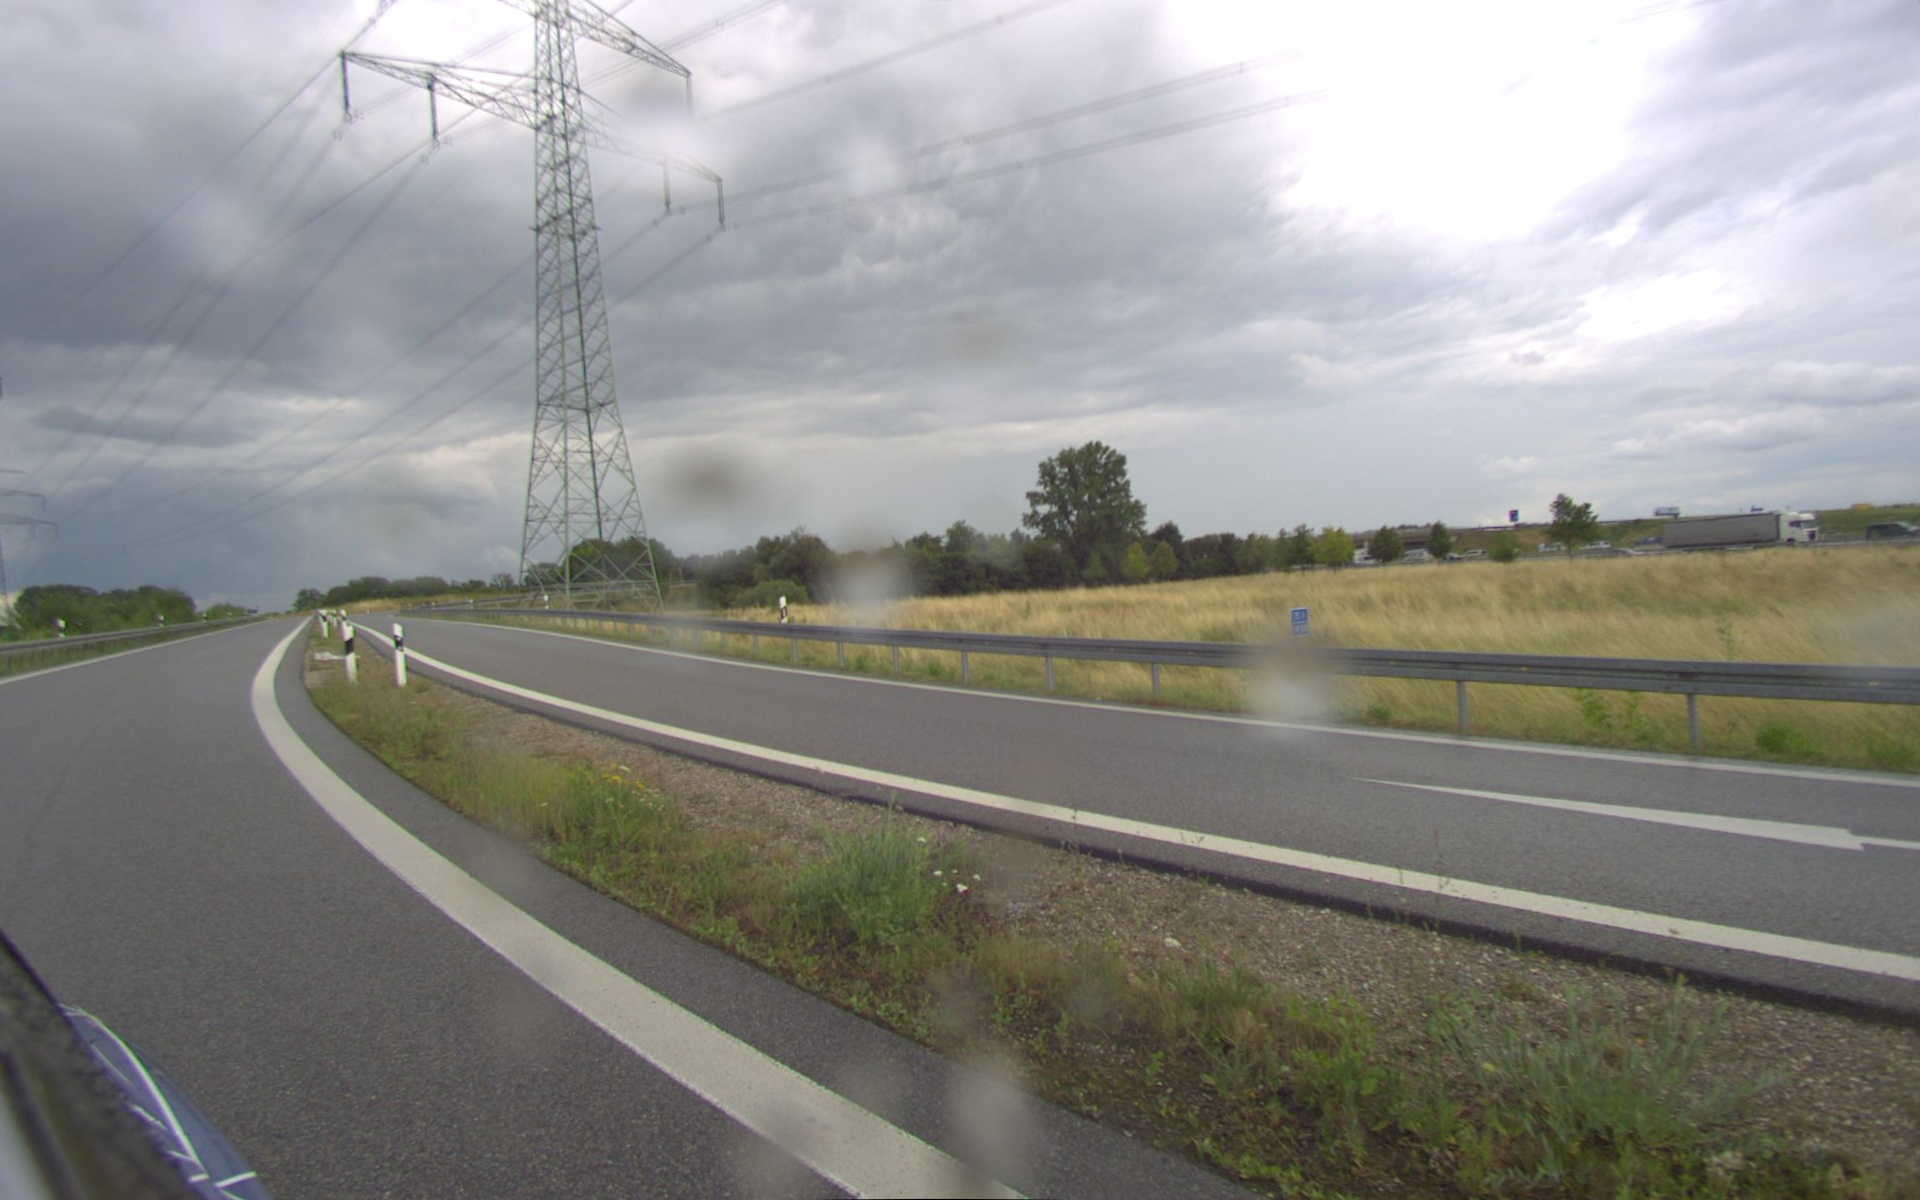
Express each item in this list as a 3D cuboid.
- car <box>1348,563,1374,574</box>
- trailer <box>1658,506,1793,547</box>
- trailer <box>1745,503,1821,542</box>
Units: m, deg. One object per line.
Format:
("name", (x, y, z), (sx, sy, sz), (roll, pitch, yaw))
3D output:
("car", (77.218, -6.033, 194.823), (1.966, 1.946, 4.791), (-3, 1, -19))
("trailer", (91.981, -8.781, 122.170), (2.811, 3.810, 13.701), (-4, 1, -17))
("trailer", (93.989, -8.802, 115.670), (2.801, 3.812, 5.915), (-4, 0, -17))
